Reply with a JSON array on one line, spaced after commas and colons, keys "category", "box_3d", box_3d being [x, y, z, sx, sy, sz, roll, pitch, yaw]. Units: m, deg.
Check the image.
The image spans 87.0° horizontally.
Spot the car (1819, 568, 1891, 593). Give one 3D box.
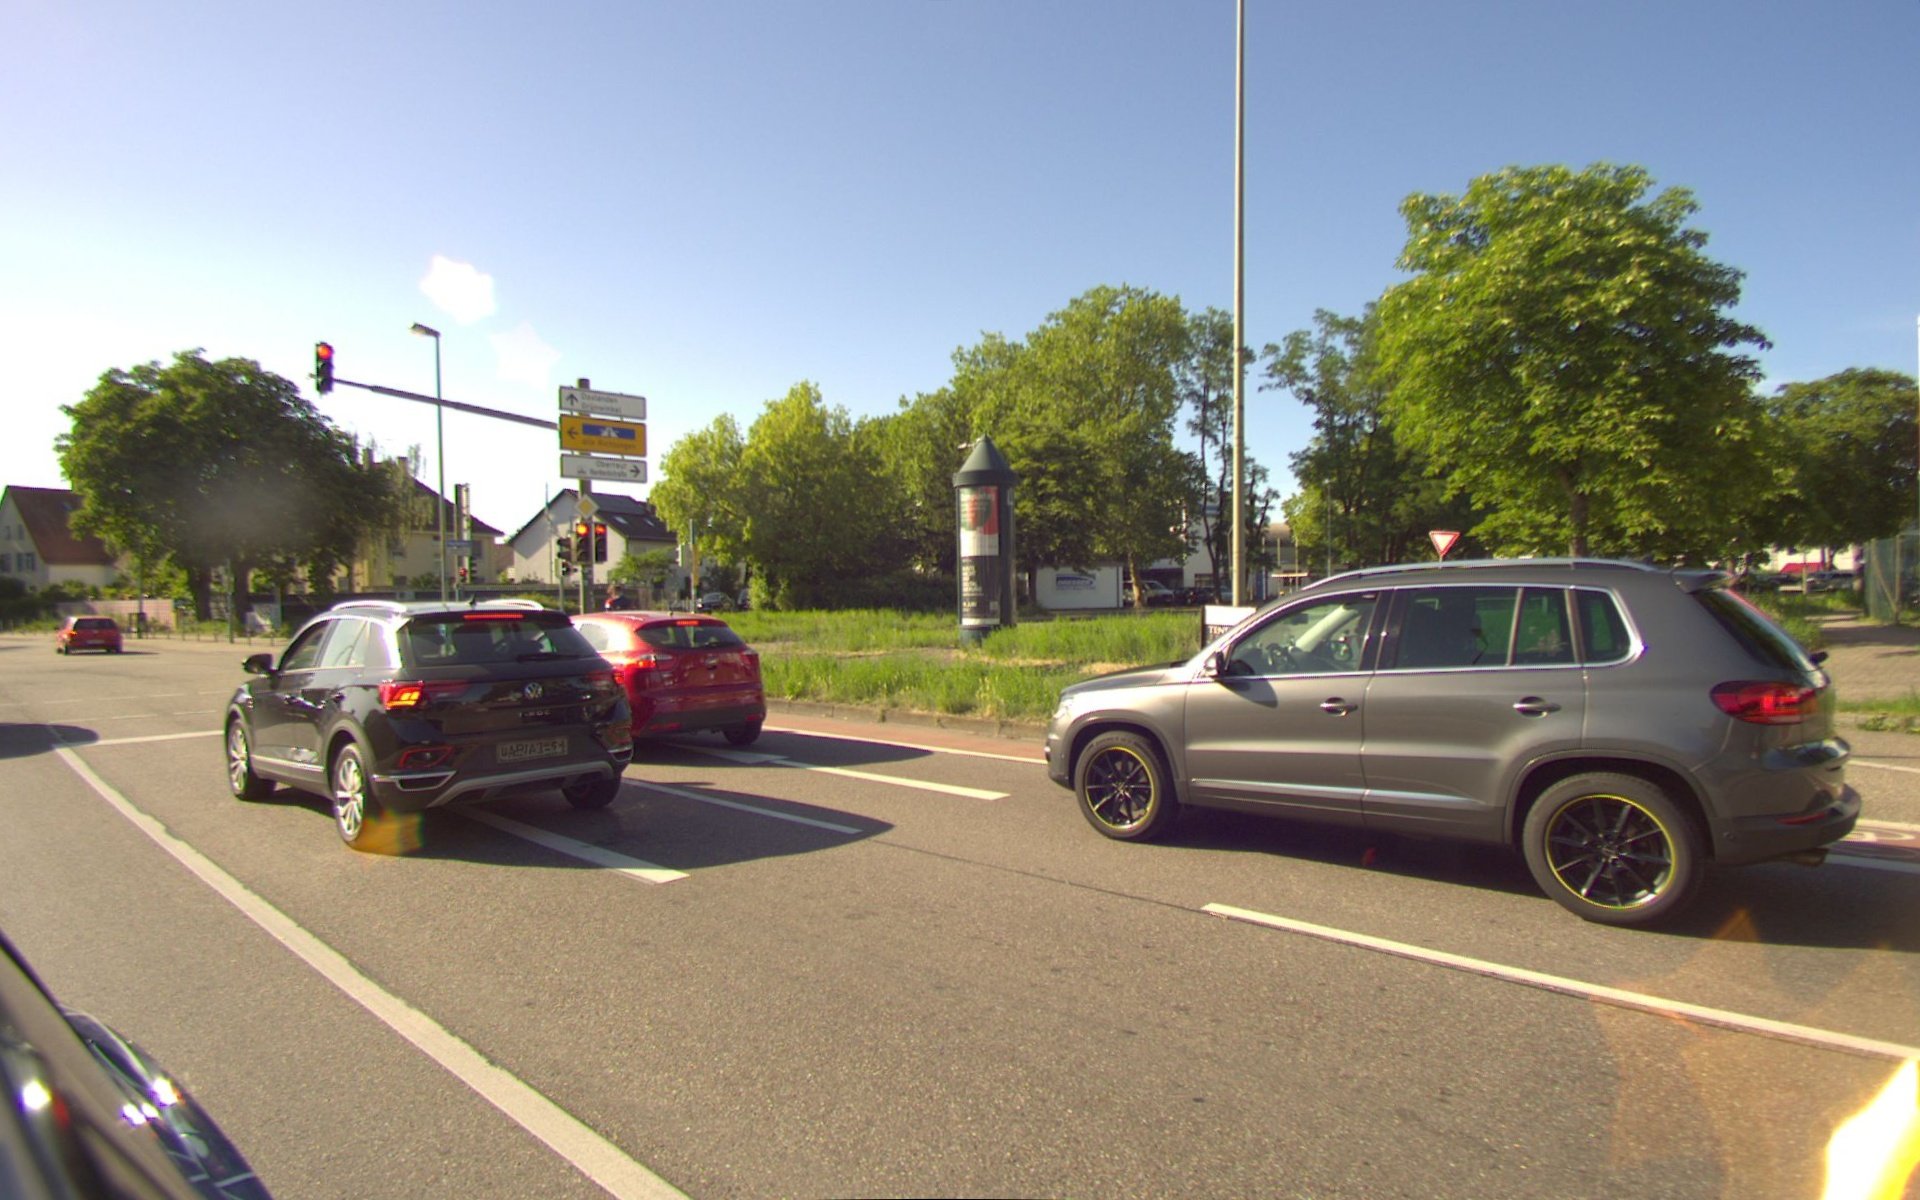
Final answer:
[{"category": "car", "box_3d": [58.154, -1.270, 65.743, 3.931, 1.460, 2.007, -2, 2, -24]}]

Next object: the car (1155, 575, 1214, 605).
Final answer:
[{"category": "car", "box_3d": [16.700, -0.716, 75.504, 1.966, 2.029, 4.011, -2, 0, -32]}]

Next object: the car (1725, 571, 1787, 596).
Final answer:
[{"category": "car", "box_3d": [55.289, -1.153, 70.321, 3.931, 1.631, 1.744, -2, 2, -24]}]

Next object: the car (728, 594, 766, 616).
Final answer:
[{"category": "car", "box_3d": [-17.752, 0.401, 84.673, 1.940, 1.679, 3.992, -1, 0, 6]}]

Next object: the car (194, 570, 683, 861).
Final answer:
[{"category": "car", "box_3d": [-4.071, 0.664, 7.636, 3.997, 1.611, 1.894, -1, -1, 40]}]

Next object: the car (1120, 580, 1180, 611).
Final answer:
[{"category": "car", "box_3d": [13.670, -0.306, 72.865, 1.966, 2.029, 4.011, -2, 0, -32]}]

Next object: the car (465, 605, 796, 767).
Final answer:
[{"category": "car", "box_3d": [-3.715, 0.805, 11.073, 3.890, 1.425, 1.765, -1, 0, 43]}]

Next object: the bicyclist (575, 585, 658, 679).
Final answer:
[{"category": "bicyclist", "box_3d": [-5.392, 0.491, 15.890, 0.822, 1.412, 0.923, -2, 0, 43]}]

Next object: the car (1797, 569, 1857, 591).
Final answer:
[{"category": "car", "box_3d": [61.324, -1.410, 71.575, 3.423, 1.451, 1.879, -2, 2, -24]}]

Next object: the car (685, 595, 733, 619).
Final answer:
[{"category": "car", "box_3d": [-18.144, 0.498, 73.328, 1.977, 1.568, 3.990, -2, 0, 8]}]

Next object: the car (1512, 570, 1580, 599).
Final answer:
[{"category": "car", "box_3d": [40.993, -1.085, 70.787, 3.931, 1.809, 2.016, -2, 0, -20]}]

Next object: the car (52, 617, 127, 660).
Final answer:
[{"category": "car", "box_3d": [-32.860, 1.403, 38.157, 4.141, 1.481, 1.836, -1, 0, 45]}]

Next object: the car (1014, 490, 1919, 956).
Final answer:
[{"category": "car", "box_3d": [2.586, 0.524, 5.861, 4.266, 1.749, 1.834, -2, -1, 40]}]

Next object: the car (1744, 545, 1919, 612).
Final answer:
[{"category": "car", "box_3d": [28.378, -0.668, 33.015, 1.967, 2.029, 4.011, -1, 0, -34]}]
